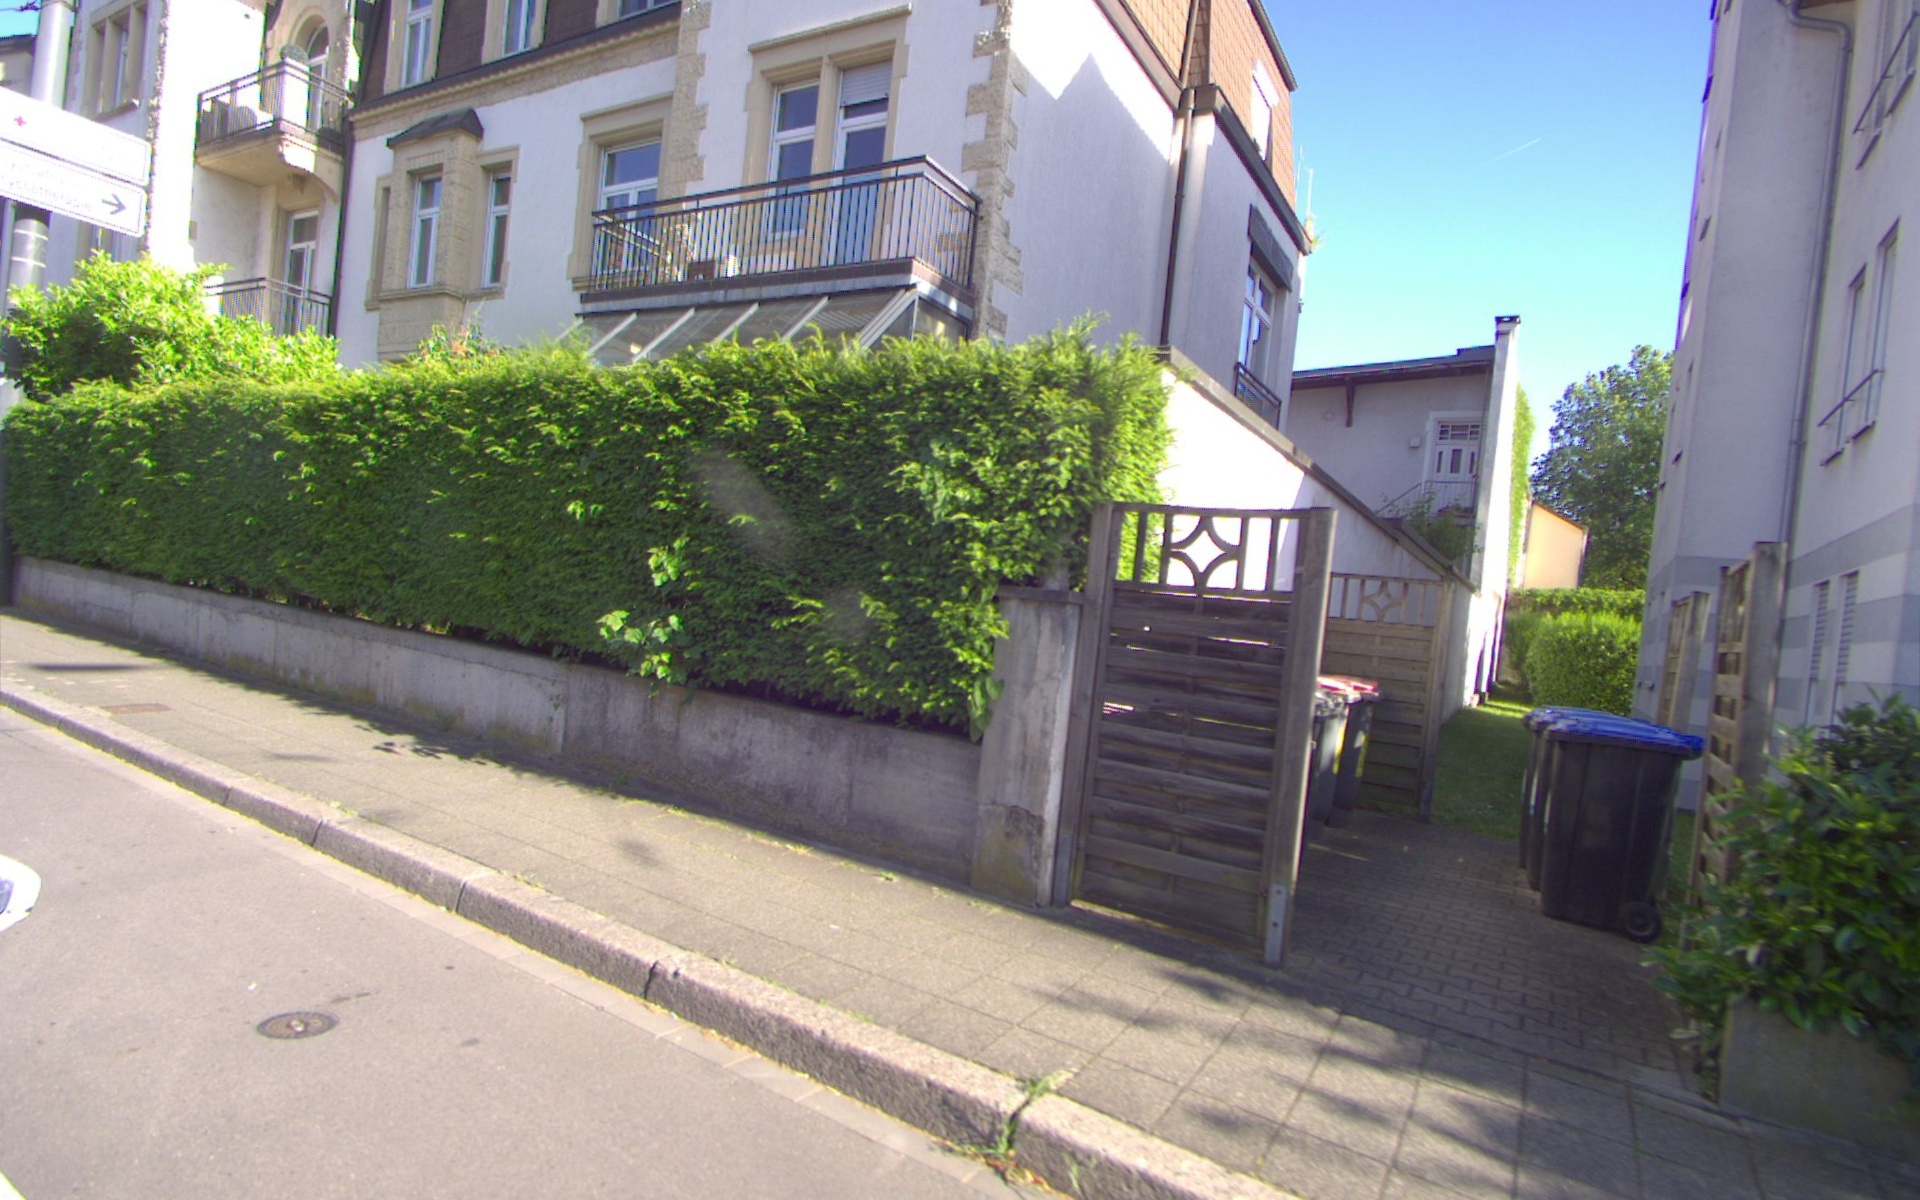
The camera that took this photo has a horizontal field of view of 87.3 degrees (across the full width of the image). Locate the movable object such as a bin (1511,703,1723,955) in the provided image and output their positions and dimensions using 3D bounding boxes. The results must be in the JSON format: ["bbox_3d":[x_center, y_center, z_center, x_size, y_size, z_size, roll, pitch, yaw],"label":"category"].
[{"bbox_3d":[3.547,1.174,5.501,0.800,1.097,0.972,6,0,31],"label":"movable object such as a bin"}]

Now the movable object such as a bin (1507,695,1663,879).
[{"bbox_3d":[4.477,1.292,7.251,0.800,1.097,0.972,6,0,31],"label":"movable object such as a bin"}]

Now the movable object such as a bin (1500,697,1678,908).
[{"bbox_3d":[3.975,1.223,6.404,0.800,1.097,0.972,6,0,31],"label":"movable object such as a bin"}]
